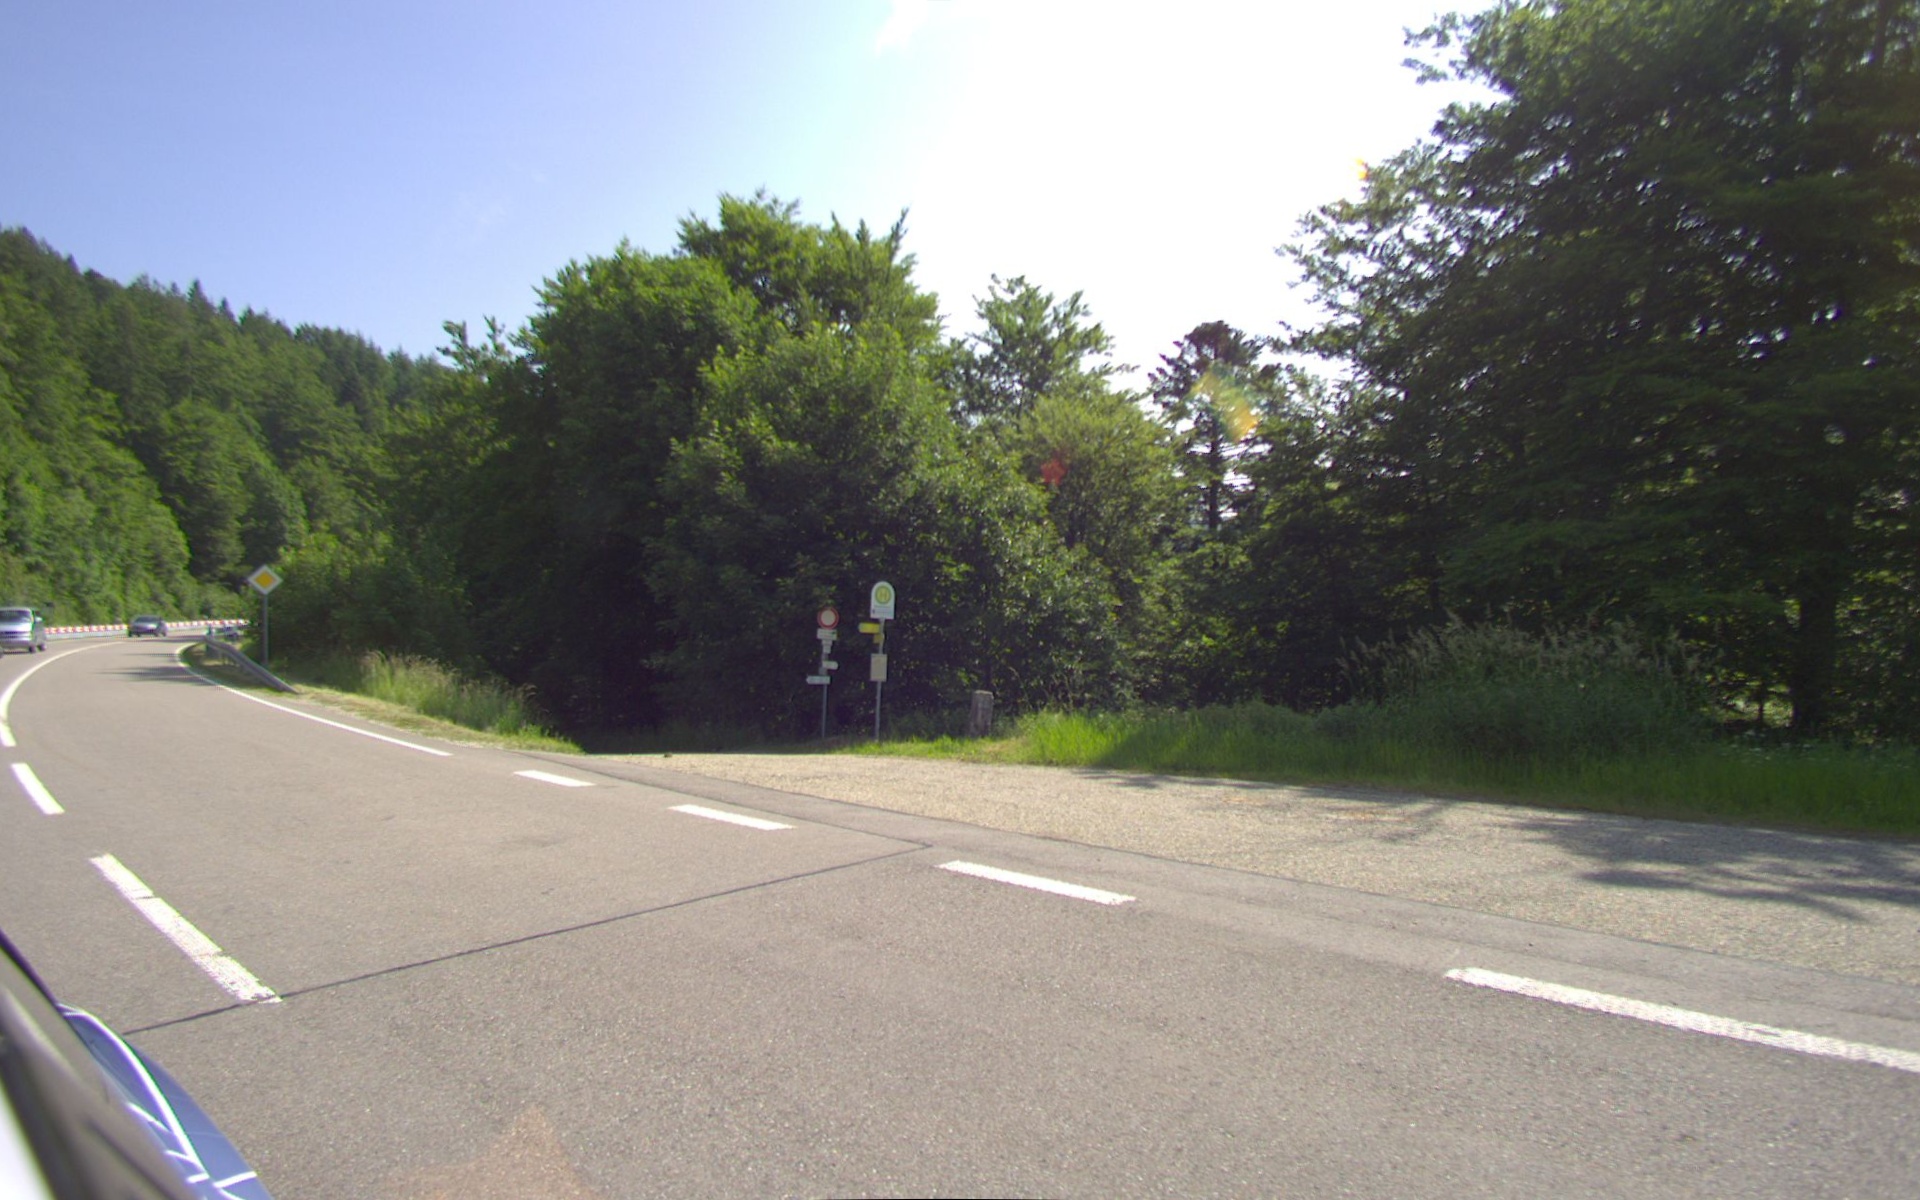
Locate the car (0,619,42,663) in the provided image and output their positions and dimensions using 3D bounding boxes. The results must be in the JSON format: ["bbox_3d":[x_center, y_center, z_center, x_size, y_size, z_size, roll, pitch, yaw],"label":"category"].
[{"bbox_3d":[-39.411,1.655,41.923,1.627,1.773,3.803,1,-1,-37],"label":"car"}]

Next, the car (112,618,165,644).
[{"bbox_3d":[-56.752,2.104,70.008,1.965,1.655,4.013,-1,0,-26],"label":"car"}]
